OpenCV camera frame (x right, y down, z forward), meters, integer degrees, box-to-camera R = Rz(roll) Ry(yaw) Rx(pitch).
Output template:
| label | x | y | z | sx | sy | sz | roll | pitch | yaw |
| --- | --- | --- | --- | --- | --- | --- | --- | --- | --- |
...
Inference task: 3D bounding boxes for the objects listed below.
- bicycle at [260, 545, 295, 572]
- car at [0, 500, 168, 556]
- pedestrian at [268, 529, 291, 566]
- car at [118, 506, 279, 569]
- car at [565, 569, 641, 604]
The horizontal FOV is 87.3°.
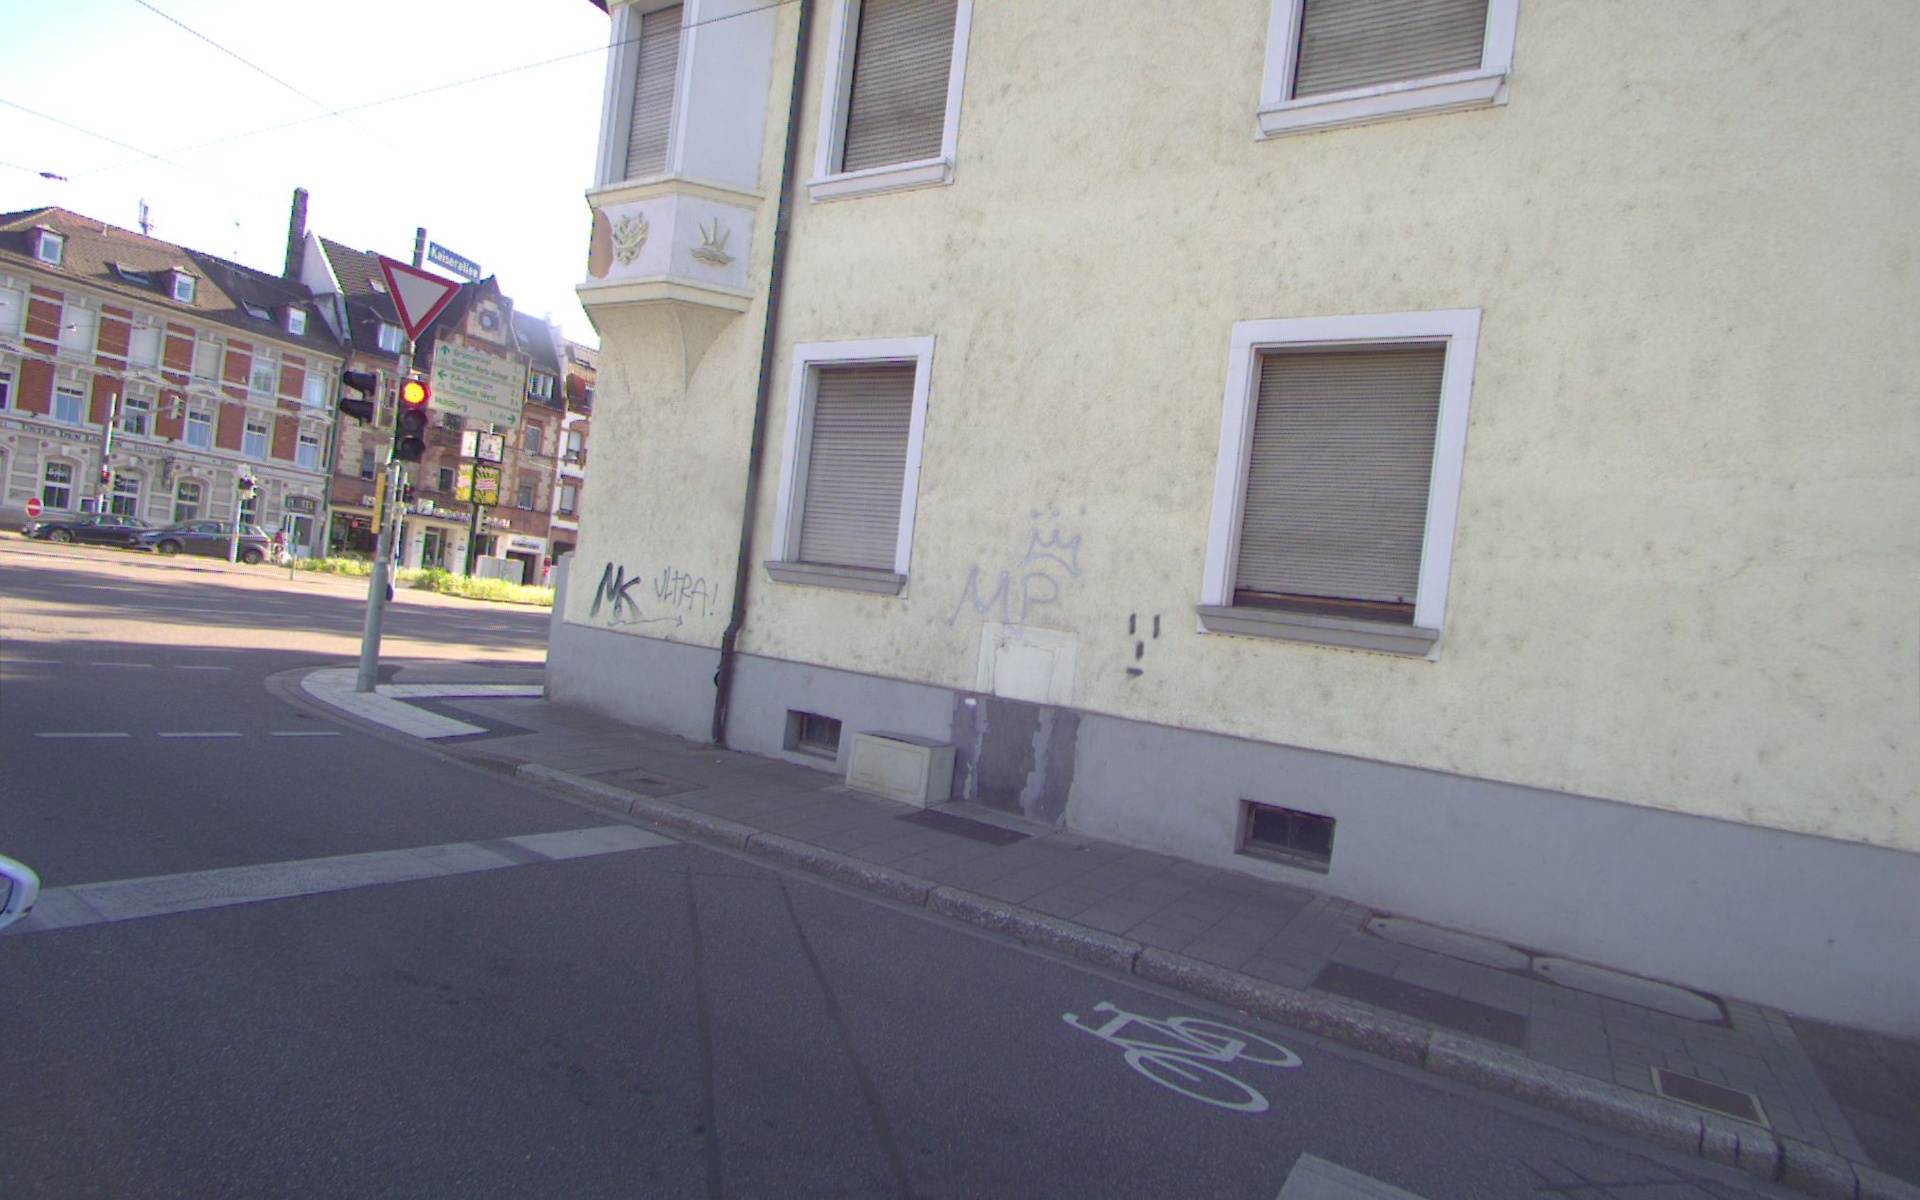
| label | x | y | z | sx | sy | sz | roll | pitch | yaw |
| --- | --- | --- | --- | --- | --- | --- | --- | --- | --- |
| bicycle | -32.978 | -2.005 | 48.580 | 1.614 | 1.064 | 0.606 | 7 | 0 | 27 |
| car | -33.543 | -2.714 | 38.544 | 1.966 | 1.356 | 4.519 | 7 | -1 | 30 |
| pedestrian | -34.951 | -2.688 | 51.679 | 0.414 | 1.773 | 0.709 | 7 | 0 | 33 |
| car | -29.554 | -2.396 | 39.192 | 1.967 | 1.692 | 4.518 | 7 | -1 | 31 |
| car | -23.120 | -0.851 | 65.300 | 1.966 | 1.674 | 4.378 | 7 | -1 | 29 |
